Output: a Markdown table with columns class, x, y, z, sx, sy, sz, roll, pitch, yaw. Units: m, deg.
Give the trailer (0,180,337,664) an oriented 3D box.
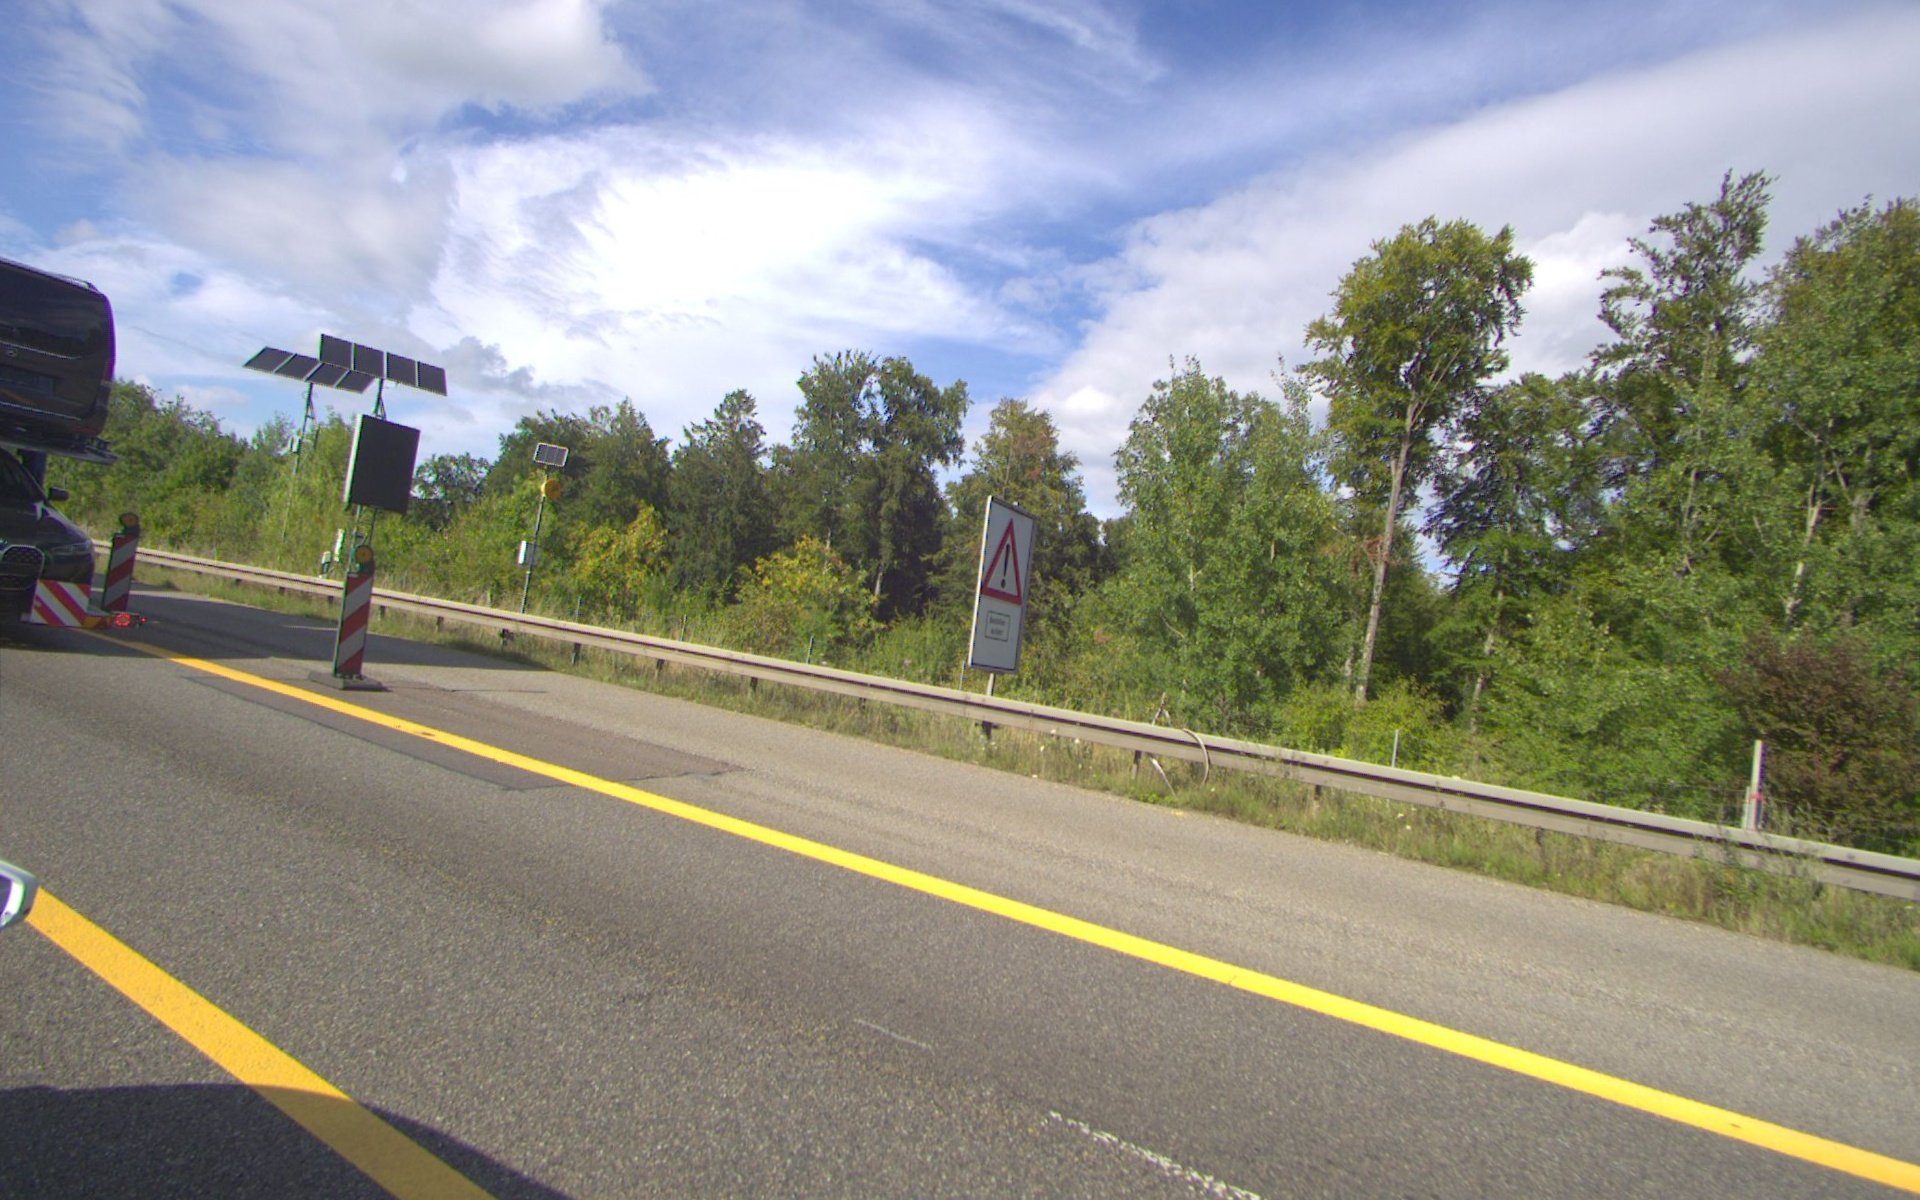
| class | x | y | z | sx | sy | sz | roll | pitch | yaw |
| --- | --- | --- | --- | --- | --- | --- | --- | --- | --- |
| trailer | -15.126 | -2.332 | 14.107 | 15.957 | 4.245 | 3.734 | 7 | -2 | 31 |
